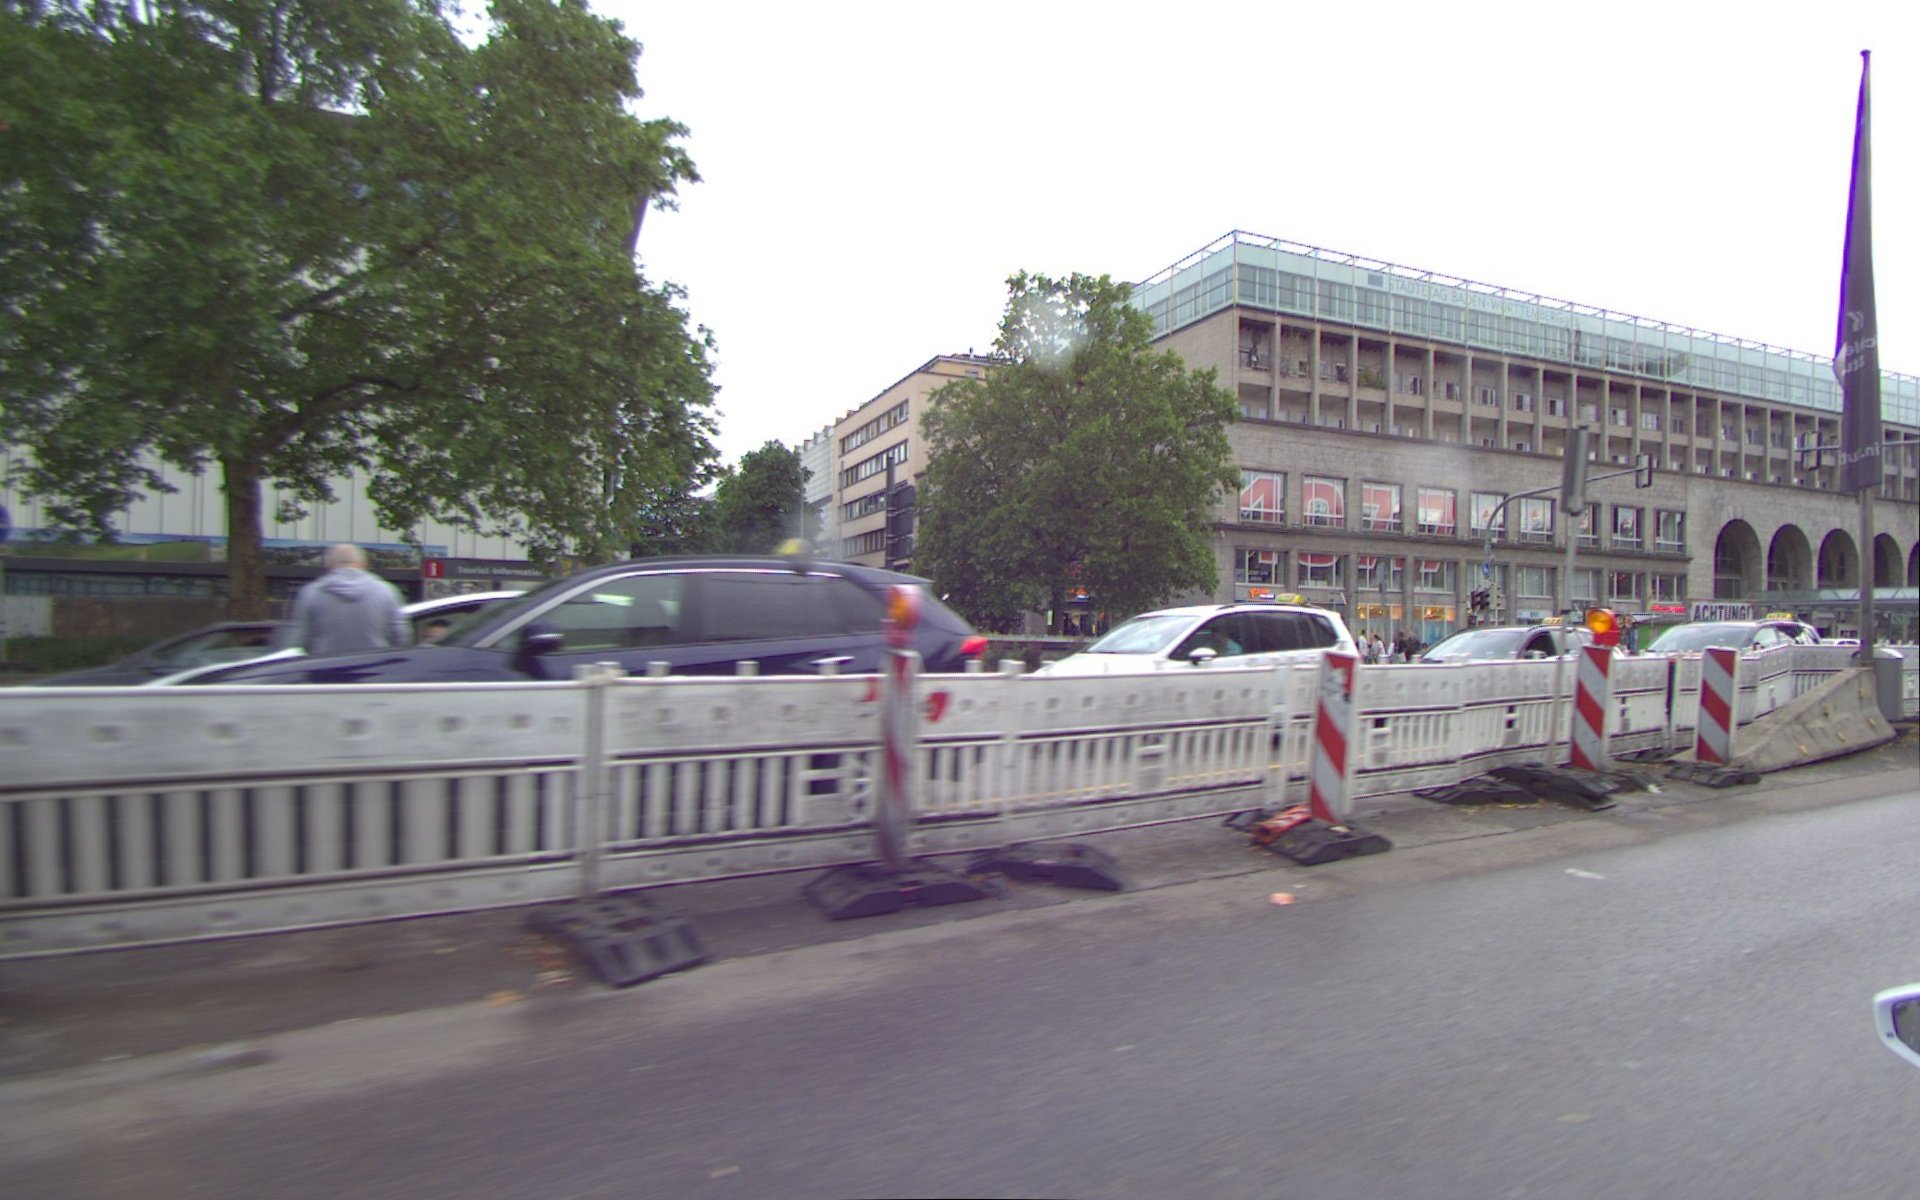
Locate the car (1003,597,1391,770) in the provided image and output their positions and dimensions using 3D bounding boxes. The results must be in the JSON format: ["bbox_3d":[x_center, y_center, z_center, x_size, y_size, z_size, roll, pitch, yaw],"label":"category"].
[{"bbox_3d":[2.863,0.863,11.955,4.425,1.745,1.777,0,-1,-28],"label":"car"}]

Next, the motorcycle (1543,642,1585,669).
[{"bbox_3d":[26.130,2.374,43.482,0.596,1.072,1.429,0,1,-35],"label":"motorcycle"}]

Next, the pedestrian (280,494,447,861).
[{"bbox_3d":[-3.644,0.437,6.176,0.812,2.040,0.871,1,-1,-31],"label":"pedestrian"}]

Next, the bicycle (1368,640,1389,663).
[{"bbox_3d":[20.832,2.552,49.991,0.435,1.071,1.619,0,0,3],"label":"bicycle"}]

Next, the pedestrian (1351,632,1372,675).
[{"bbox_3d":[15.594,2.085,39.015,0.606,1.663,0.522,2,-4,-45],"label":"pedestrian"}]

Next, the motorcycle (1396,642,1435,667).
[{"bbox_3d":[20.359,2.423,44.888,1.598,1.072,0.581,0,1,-18],"label":"motorcycle"}]

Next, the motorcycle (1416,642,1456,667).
[{"bbox_3d":[20.897,2.386,44.085,1.598,1.072,0.581,0,1,-18],"label":"motorcycle"}]

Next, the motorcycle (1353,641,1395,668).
[{"bbox_3d":[18.217,2.395,44.232,1.591,1.149,0.583,0,1,8],"label":"motorcycle"}]

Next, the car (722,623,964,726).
[{"bbox_3d":[-2.122,1.261,18.064,3.943,1.639,1.989,1,0,-23],"label":"car"}]

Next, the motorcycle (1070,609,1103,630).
[{"bbox_3d":[6.580,1.024,52.283,1.696,1.060,0.528,1,-1,-28],"label":"motorcycle"}]

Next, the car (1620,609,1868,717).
[{"bbox_3d":[14.266,1.042,18.254,4.443,1.722,1.896,0,0,-28],"label":"car"}]

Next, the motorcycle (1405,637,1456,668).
[{"bbox_3d":[21.010,2.329,44.894,0.691,1.244,1.931,0,1,-43],"label":"motorcycle"}]

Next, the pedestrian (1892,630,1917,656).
[{"bbox_3d":[53.831,2.460,57.259,0.911,1.411,0.701,1,1,36],"label":"pedestrian"}]

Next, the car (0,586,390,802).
[{"bbox_3d":[-8.492,0.882,10.956,3.953,2.041,1.984,0,1,-30],"label":"car"}]

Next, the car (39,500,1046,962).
[{"bbox_3d":[-2.023,0.542,6.007,4.749,1.841,1.986,0,-1,-28],"label":"car"}]

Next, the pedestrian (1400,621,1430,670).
[{"bbox_3d":[16.036,1.612,35.405,0.553,1.707,0.747,0,-4,-27],"label":"pedestrian"}]

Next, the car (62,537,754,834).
[{"bbox_3d":[-4.206,0.515,8.372,4.510,1.877,1.906,0,5,-29],"label":"car"}]

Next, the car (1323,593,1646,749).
[{"bbox_3d":[7.497,0.873,14.299,4.465,1.923,1.896,0,1,-28],"label":"car"}]

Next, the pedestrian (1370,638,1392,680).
[{"bbox_3d":[16.305,2.278,38.927,0.747,1.592,0.470,2,-4,-43],"label":"pedestrian"}]

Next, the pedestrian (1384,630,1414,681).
[{"bbox_3d":[15.294,1.927,35.025,0.650,1.709,0.595,0,4,-28],"label":"pedestrian"}]

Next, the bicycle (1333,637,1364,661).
[{"bbox_3d":[19.257,2.419,49.792,0.693,1.071,1.617,0,0,-9],"label":"bicycle"}]
